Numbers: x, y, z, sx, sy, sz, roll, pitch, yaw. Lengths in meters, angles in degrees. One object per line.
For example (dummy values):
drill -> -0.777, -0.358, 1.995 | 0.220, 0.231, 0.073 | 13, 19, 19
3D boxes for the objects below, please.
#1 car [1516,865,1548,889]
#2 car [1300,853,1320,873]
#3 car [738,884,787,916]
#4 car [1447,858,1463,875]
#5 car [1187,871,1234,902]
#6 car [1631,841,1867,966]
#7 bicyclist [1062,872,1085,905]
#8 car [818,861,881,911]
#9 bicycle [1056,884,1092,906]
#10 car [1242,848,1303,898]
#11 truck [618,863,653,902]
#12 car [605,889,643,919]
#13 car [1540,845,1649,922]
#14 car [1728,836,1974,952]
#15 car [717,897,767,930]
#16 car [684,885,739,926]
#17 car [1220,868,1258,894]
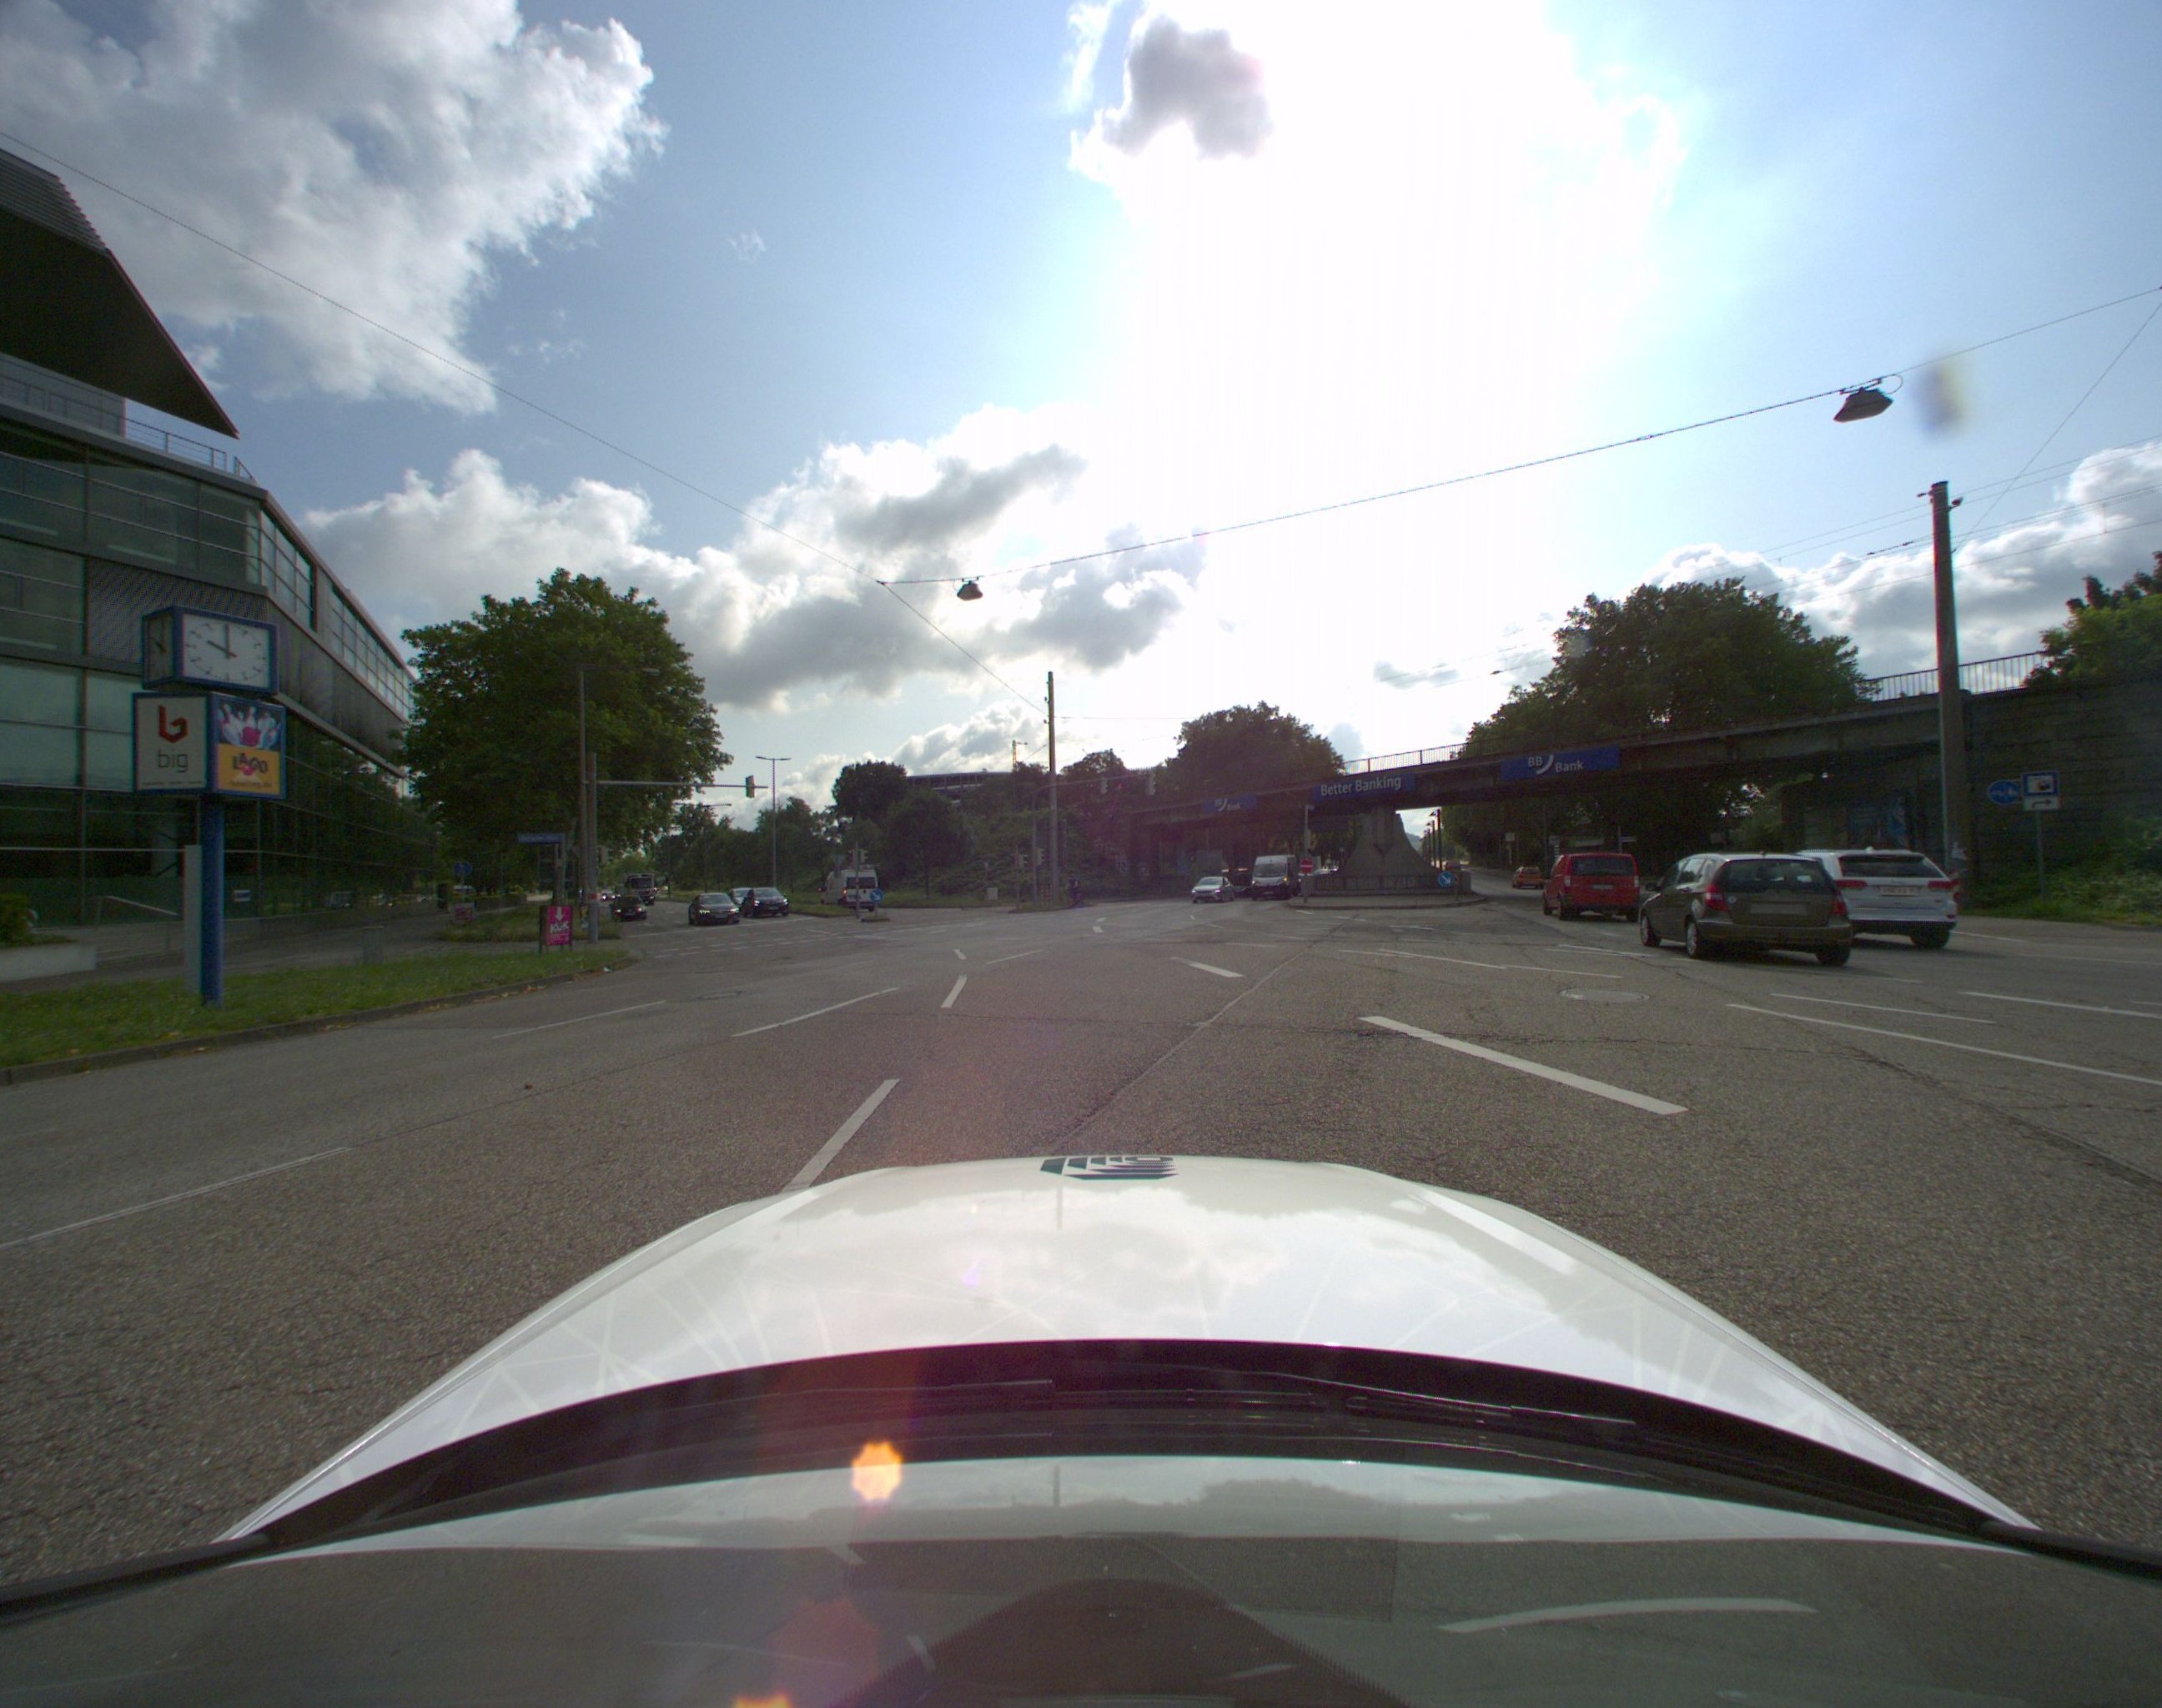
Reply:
car -> 31.099, 1.579, 56.219 | 1.759, 1.558, 4.023 | -2, -1, 27
car -> 31.849, 1.258, 113.039 | 2.227, 2.578, 5.651 | -5, -2, 18
car -> -17.139, 2.417, 43.700 | 1.719, 1.587, 4.318 | -1, -1, -31
car -> 48.041, 1.629, 104.709 | 1.783, 2.124, 3.787 | -2, -1, 24
car -> 7.262, 1.774, 45.326 | 1.688, 1.477, 4.021 | -4, -2, 21
car -> 10.031, 0.690, 12.608 | 1.776, 1.609, 3.818 | 0, -2, 22
bicyclist -> -0.418, 1.820, 43.421 | 0.834, 1.678, 0.829 | -4, -2, 30
car -> -13.765, 1.874, 48.275 | 2.213, 2.726, 4.880 | -1, -1, -33
bicycle -> -0.369, 2.162, 43.467 | 0.834, 1.093, 2.332 | -2, -2, 30
car -> 10.975, 1.046, 46.281 | 2.238, 2.526, 5.657 | -5, -2, 23
truck -> -48.179, 2.951, 87.884 | 2.668, 3.888, 10.056 | 0, 0, -32
car -> -26.632, 2.865, 47.410 | 1.741, 1.572, 3.960 | 1, -1, -32
car -> 14.866, 0.771, 23.856 | 1.938, 2.017, 4.702 | 0, 0, 22
car -> 14.538, 0.686, 15.774 | 1.977, 1.901, 4.532 | 0, -1, 22
car -> -20.229, 3.501, 48.516 | 2.008, 1.728, 3.958 | -1, -1, -33
car -> -17.548, 2.377, 38.577 | 1.877, 1.574, 4.523 | -1, 0, -31
car -> 10.369, 1.733, 53.244 | 1.751, 1.583, 4.685 | -3, -2, 18
